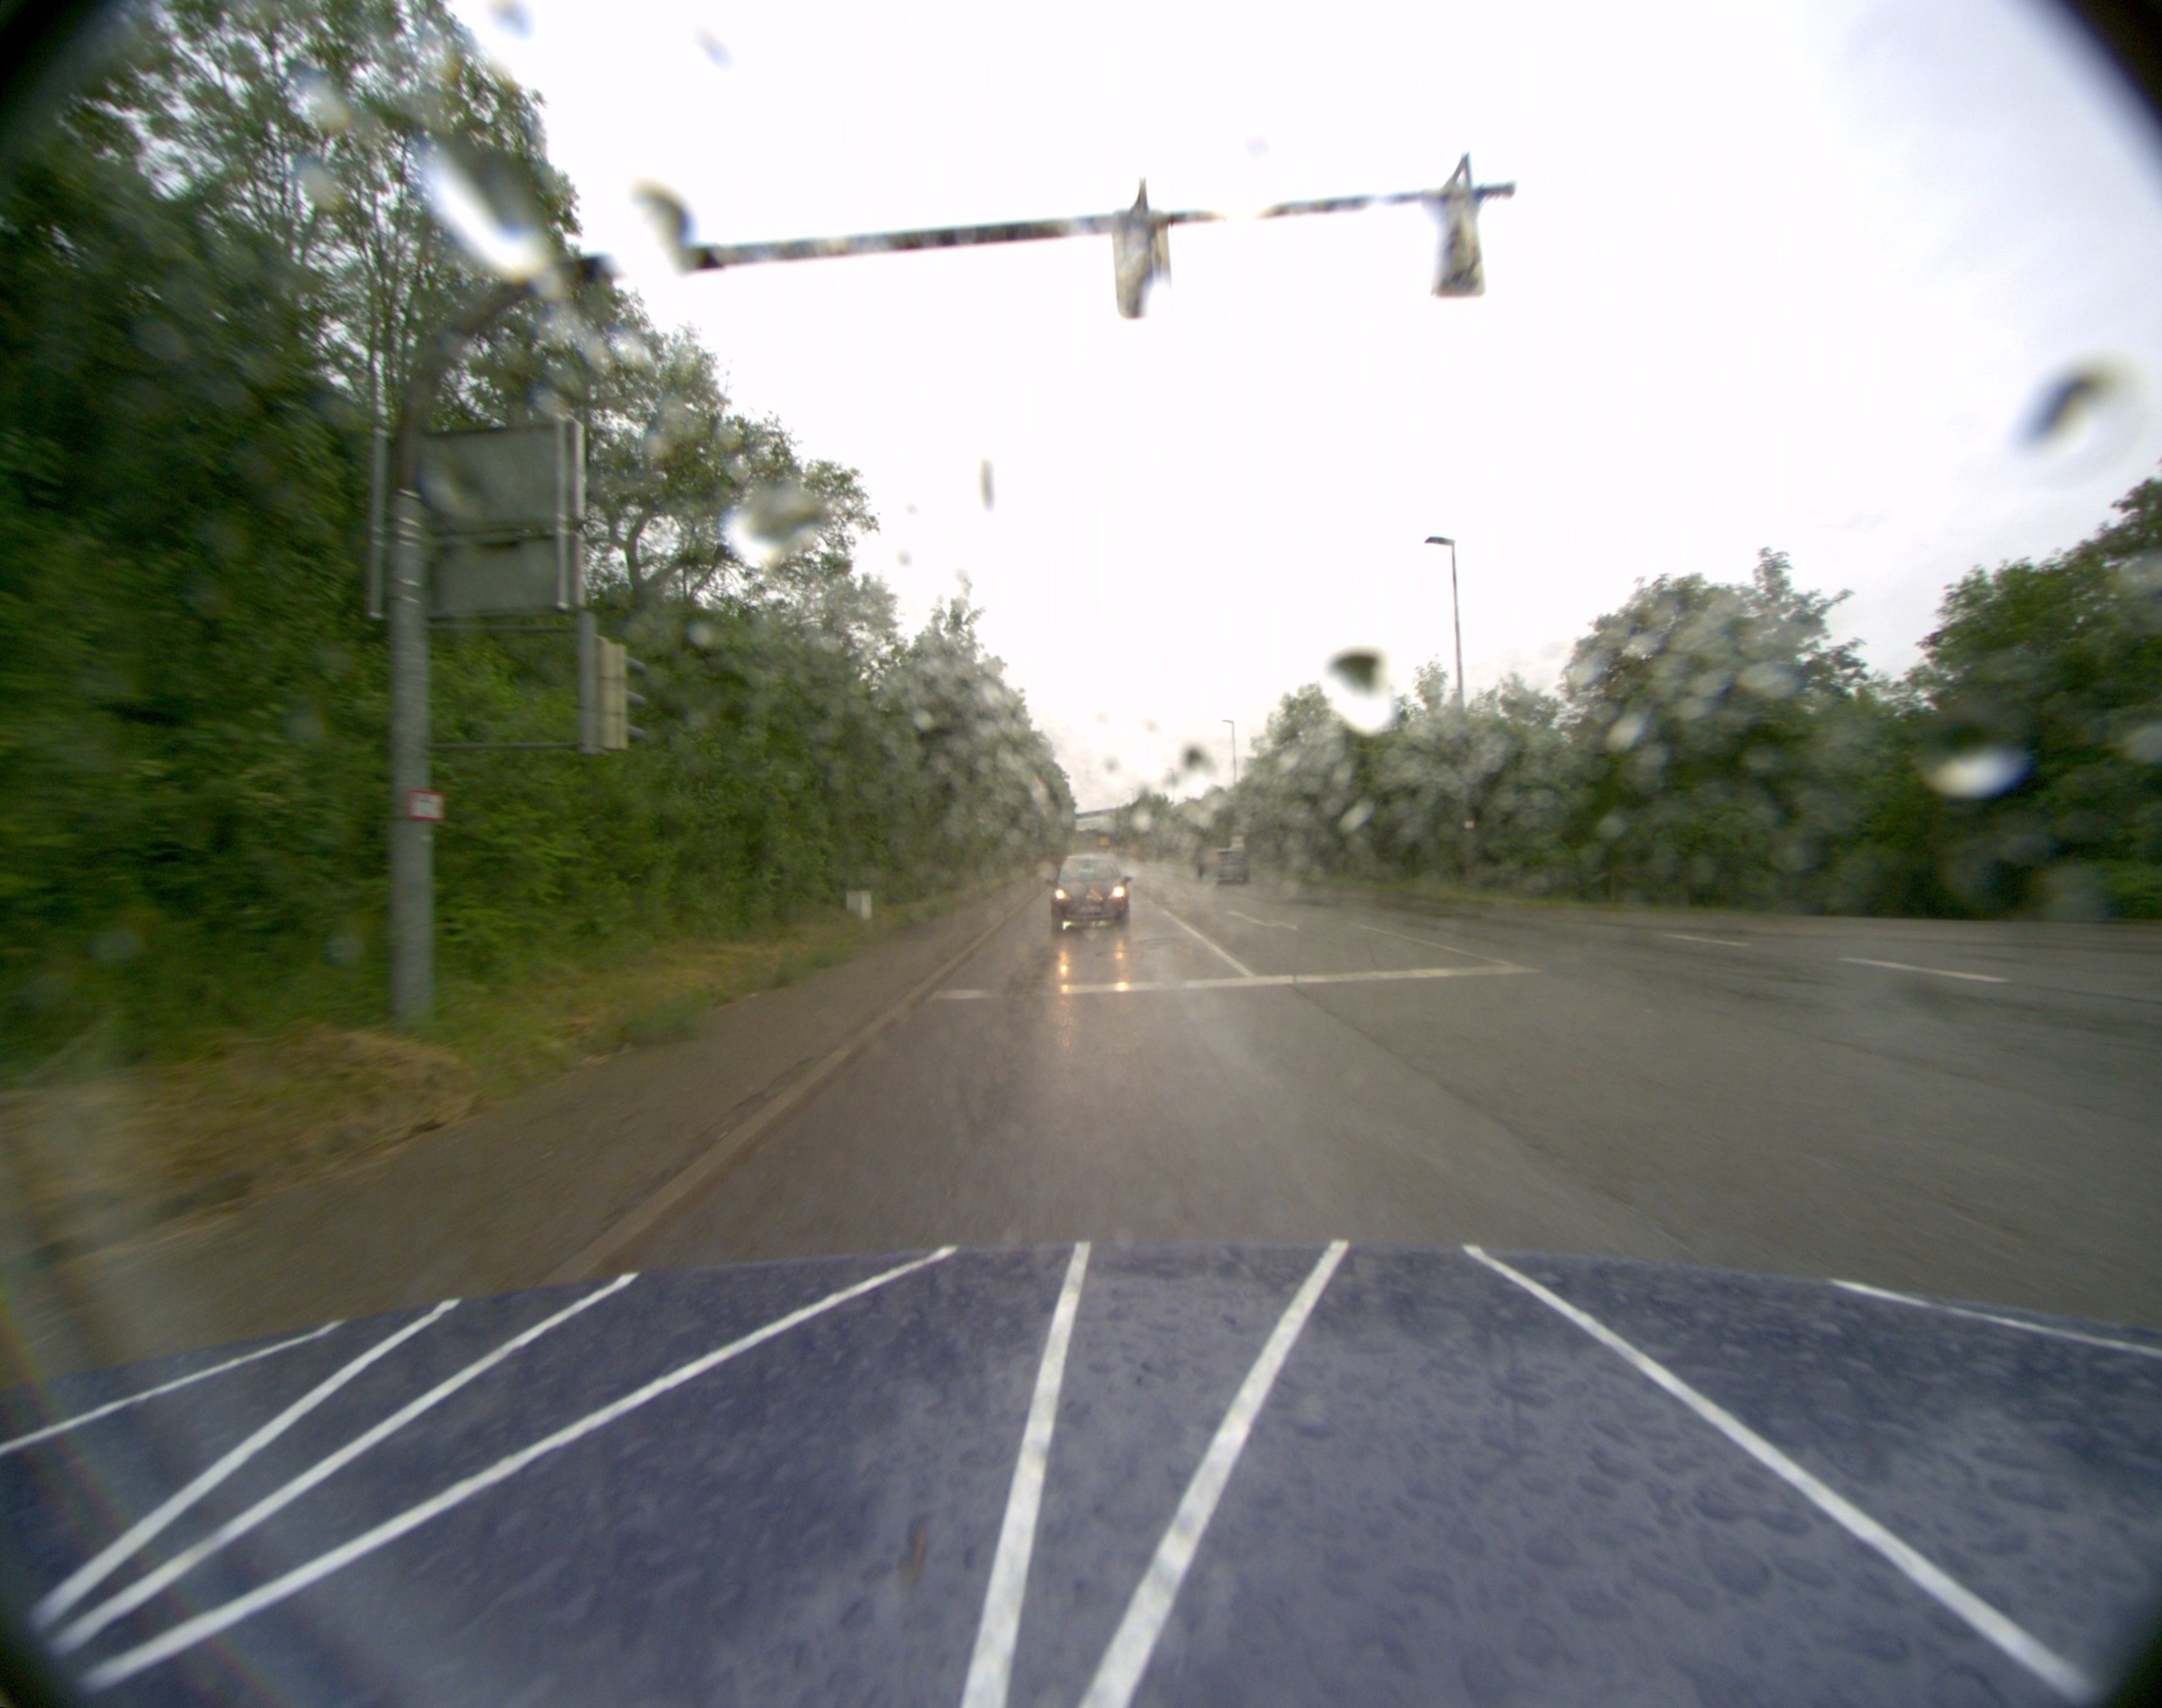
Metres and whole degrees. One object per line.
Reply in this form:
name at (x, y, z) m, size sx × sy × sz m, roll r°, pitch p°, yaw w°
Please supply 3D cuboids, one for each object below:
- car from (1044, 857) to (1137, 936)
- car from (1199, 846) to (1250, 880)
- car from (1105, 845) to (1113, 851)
car at (0.210, 0.873, 17.541) m, size 1.839 × 1.404 × 4.341 m, roll -2°, pitch 2°, yaw 1°
car at (6.629, 0.402, 35.556) m, size 1.643 × 1.461 × 4.000 m, roll -1°, pitch 0°, yaw 0°
car at (7.435, -1.652, 200.277) m, size 1.998 × 1.576 × 3.999 m, roll -2°, pitch 2°, yaw 1°
